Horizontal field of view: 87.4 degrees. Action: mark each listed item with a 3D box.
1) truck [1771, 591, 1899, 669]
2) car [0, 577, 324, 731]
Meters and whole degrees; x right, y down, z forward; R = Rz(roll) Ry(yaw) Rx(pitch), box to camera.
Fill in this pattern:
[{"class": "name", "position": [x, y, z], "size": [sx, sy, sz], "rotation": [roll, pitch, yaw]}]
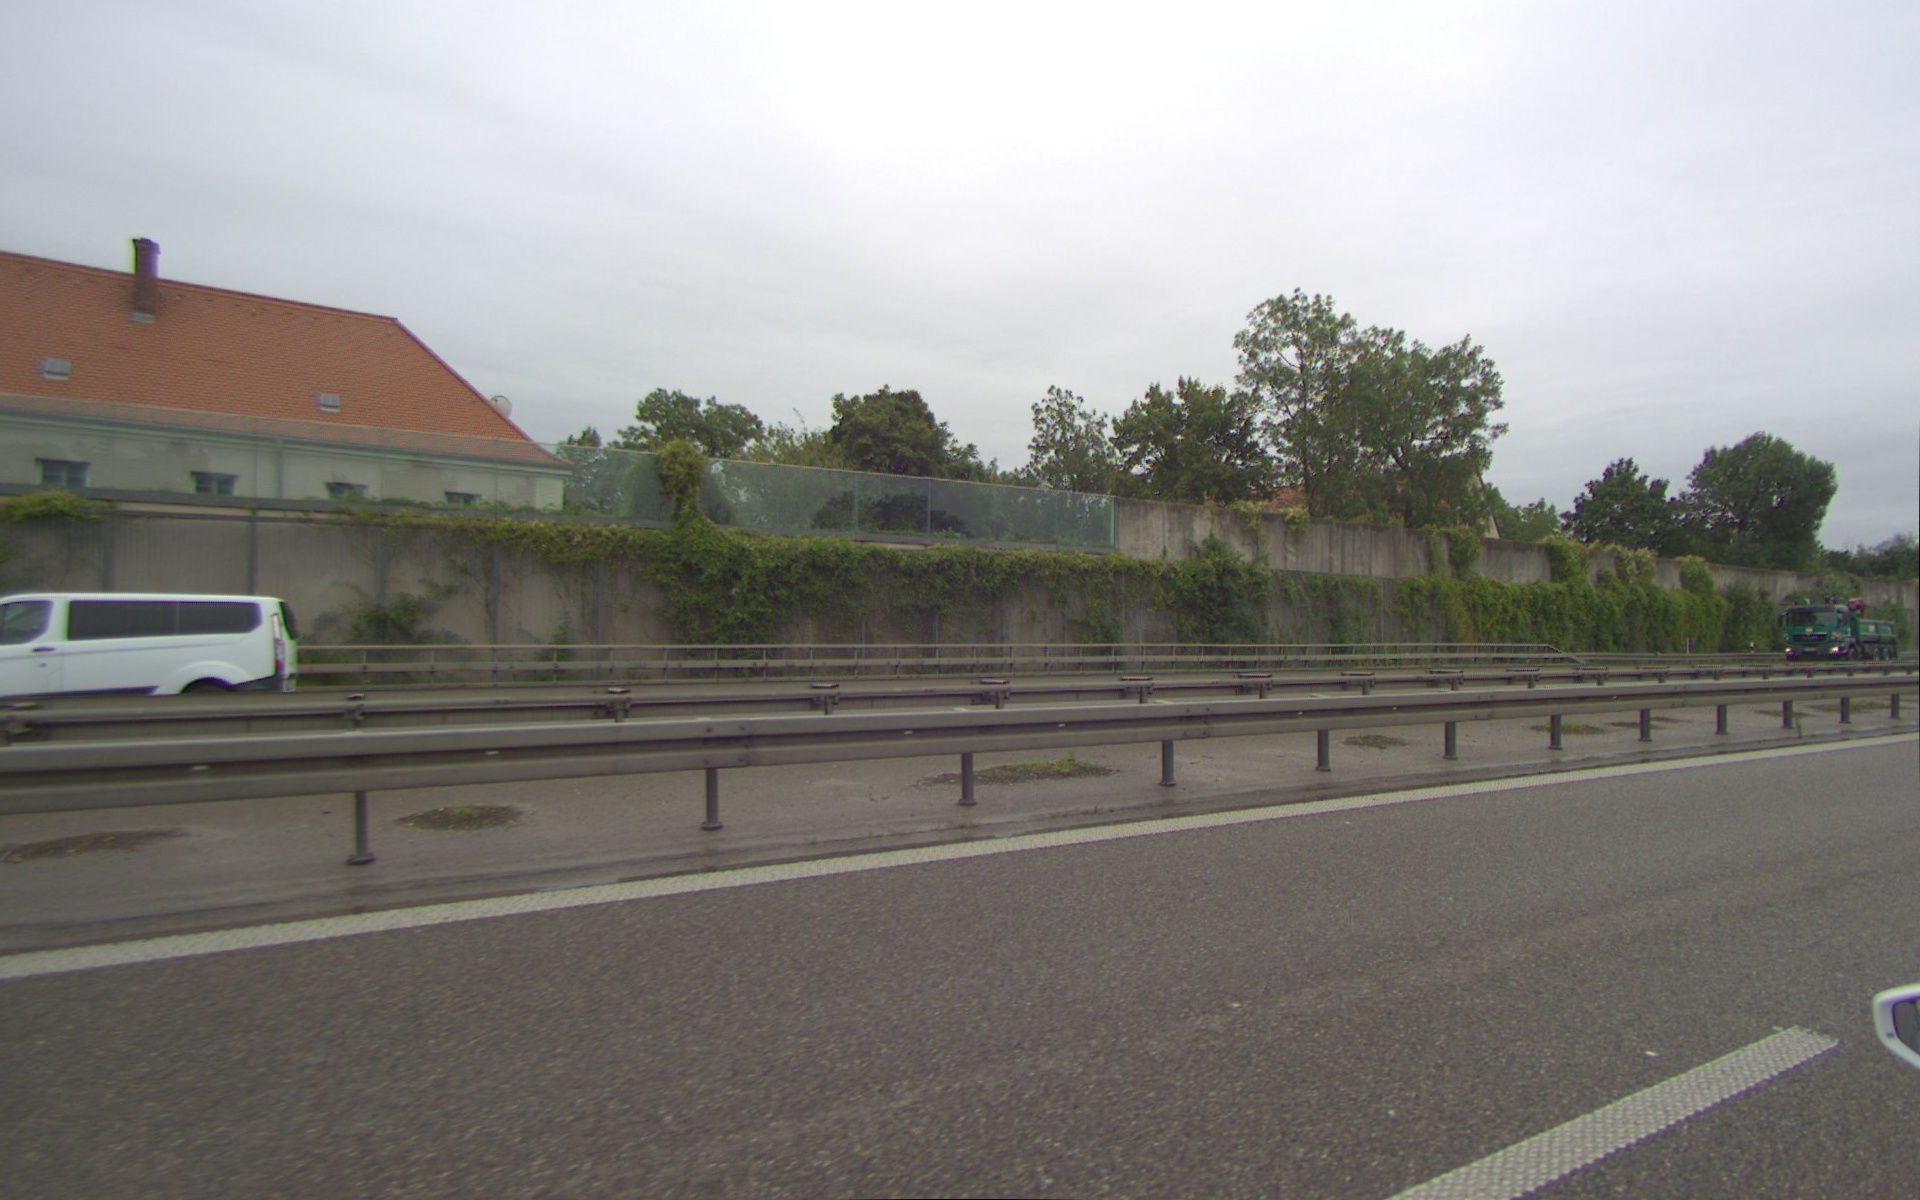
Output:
[{"class": "truck", "position": [46.056, 1.603, 52.782], "size": [8.242, 3.827, 2.677], "rotation": [2, 0, -31]}, {"class": "car", "position": [-12.291, 0.735, 14.695], "size": [4.899, 2.040, 1.984], "rotation": [2, 0, -31]}]
